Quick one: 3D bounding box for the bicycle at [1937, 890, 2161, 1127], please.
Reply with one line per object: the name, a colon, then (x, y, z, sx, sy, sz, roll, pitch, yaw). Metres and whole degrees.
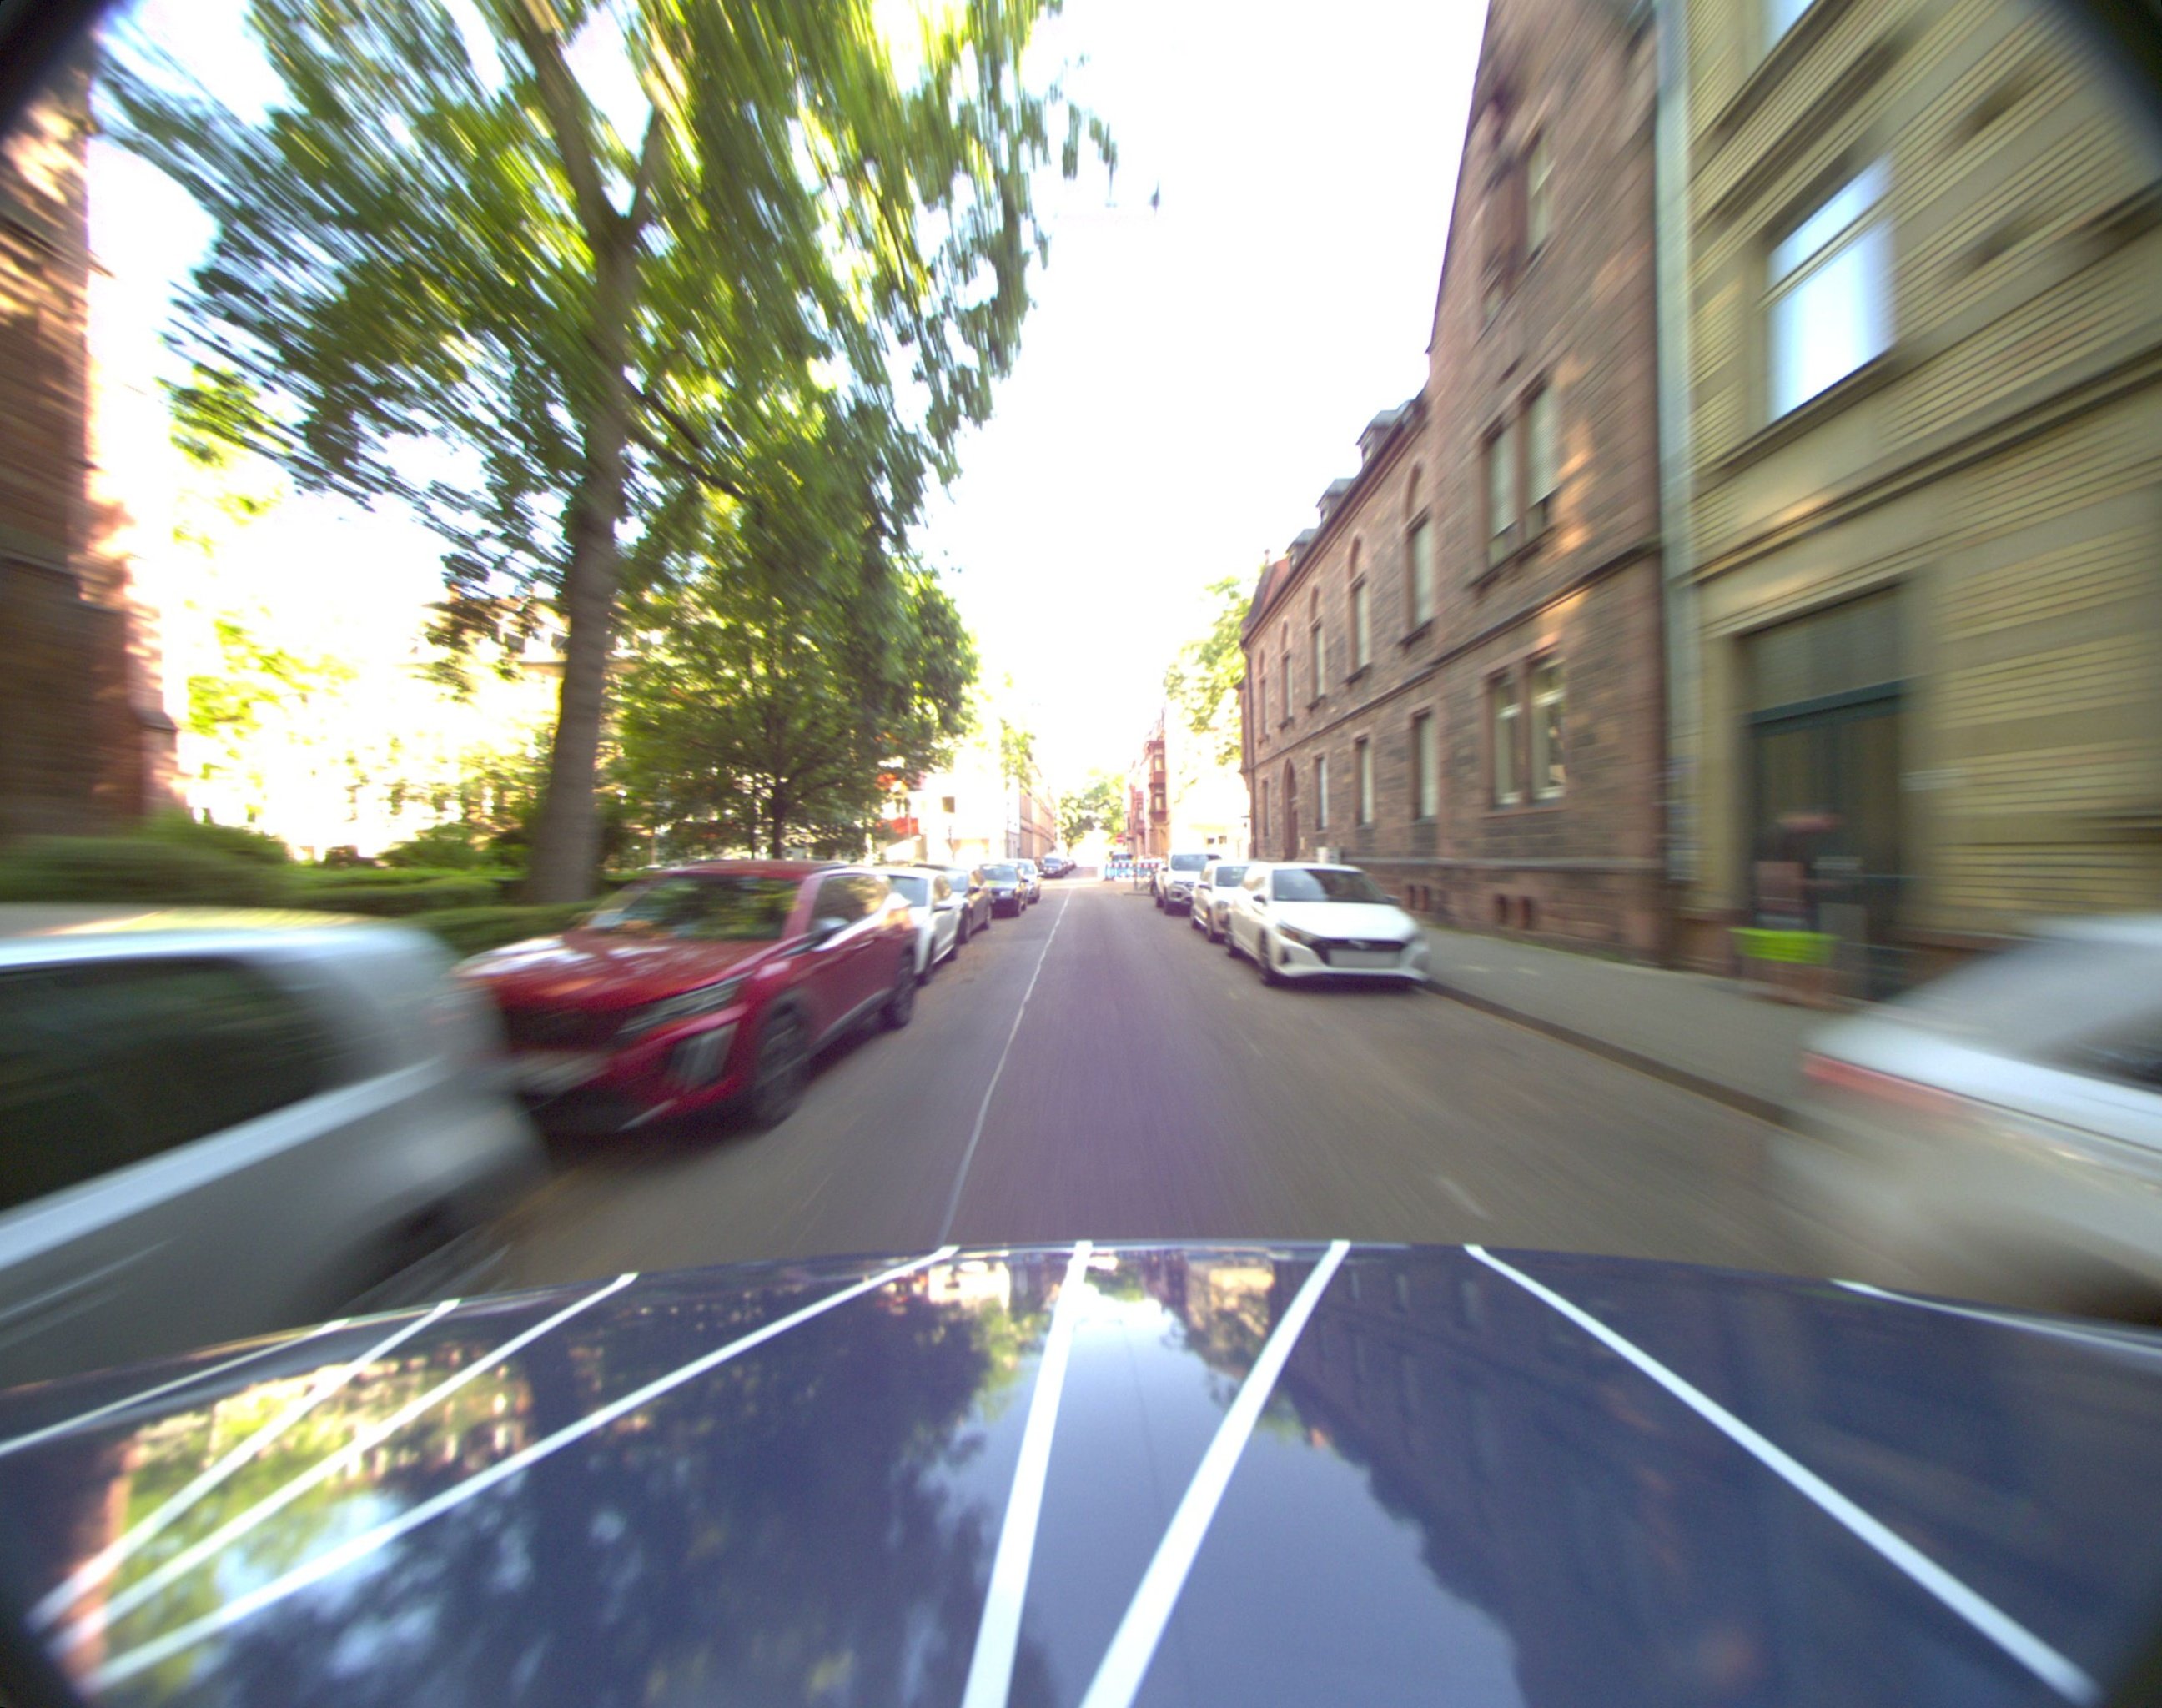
bicycle: (5.838, 0.825, 3.977, 0.572, 1.141, 1.844, -4, 0, 0)

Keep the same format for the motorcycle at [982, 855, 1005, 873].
motorcycle: (-5.656, 0.645, 49.152, 1.472, 1.111, 0.908, -2, 1, -6)

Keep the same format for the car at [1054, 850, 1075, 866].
car: (-1.750, 0.398, 82.759, 1.998, 1.659, 4.000, -1, 0, 2)

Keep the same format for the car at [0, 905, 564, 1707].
car: (-2.676, 1.001, 0.806, 1.603, 1.496, 3.720, 3, 1, 1)

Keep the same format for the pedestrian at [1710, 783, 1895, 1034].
pedestrian: (5.900, 0.419, 6.260, 0.768, 1.917, 0.763, -2, 1, -3)

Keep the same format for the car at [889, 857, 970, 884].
car: (-8.895, 0.952, 44.873, 4.412, 1.423, 1.782, -2, 1, 0)

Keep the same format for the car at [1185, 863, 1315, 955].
car: (3.064, 0.932, 14.489, 1.713, 1.409, 3.803, 1, 1, 2)

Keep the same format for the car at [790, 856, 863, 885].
car: (-15.064, 0.956, 45.068, 3.695, 1.550, 1.649, -2, 3, 0)

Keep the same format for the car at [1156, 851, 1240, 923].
car: (3.033, 0.798, 20.550, 1.713, 1.665, 4.277, 1, 1, 2)

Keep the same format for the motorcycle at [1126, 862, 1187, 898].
motorcycle: (2.750, 0.923, 27.887, 0.703, 1.244, 2.320, -2, 2, -44)

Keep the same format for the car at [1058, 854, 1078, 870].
car: (-1.500, 0.915, 87.680, 1.998, 1.659, 4.000, -1, 0, 2)

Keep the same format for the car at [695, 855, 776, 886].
car: (-20.537, 0.960, 45.265, 4.036, 1.608, 1.649, -2, 3, 0)

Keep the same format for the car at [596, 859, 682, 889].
car: (-26.197, 1.191, 45.107, 4.000, 1.571, 1.649, -2, 3, 0)

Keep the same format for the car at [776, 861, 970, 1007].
car: (-2.695, 0.949, 10.770, 1.668, 1.511, 3.950, 3, 1, -1)

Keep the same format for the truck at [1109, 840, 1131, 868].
truck: (3.804, -0.039, 75.025, 1.971, 2.643, 5.884, 0, 0, 1)

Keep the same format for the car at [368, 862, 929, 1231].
car: (-2.508, 0.942, 5.699, 1.668, 1.577, 4.100, 3, 1, 3)

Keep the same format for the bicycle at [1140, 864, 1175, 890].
bicycle: (3.107, 0.921, 30.883, 0.234, 1.037, 1.679, -5, 3, -39)

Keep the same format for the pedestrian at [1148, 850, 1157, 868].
pedestrian: (6.221, 0.428, 66.232, 0.670, 1.585, 0.597, -2, 1, -3)

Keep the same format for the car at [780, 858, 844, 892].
car: (-13.016, 0.972, 36.619, 1.785, 1.423, 4.404, -3, 2, -34)

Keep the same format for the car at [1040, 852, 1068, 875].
car: (-1.979, 0.698, 56.293, 1.845, 1.643, 4.000, 0, 0, 1)

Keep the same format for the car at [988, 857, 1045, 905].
car: (-2.218, 0.903, 26.988, 1.713, 1.511, 3.830, 0, 1, -1)

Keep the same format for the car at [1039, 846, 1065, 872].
car: (-2.374, 0.385, 61.973, 1.999, 2.052, 3.998, -2, 0, -4)

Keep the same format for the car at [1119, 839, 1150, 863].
car: (3.932, -0.192, 56.423, 1.776, 1.695, 3.999, -2, 0, -3)

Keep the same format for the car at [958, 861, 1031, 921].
car: (-2.342, 0.965, 21.454, 1.625, 1.428, 4.002, 0, 1, -1)

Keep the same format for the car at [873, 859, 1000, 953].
car: (-2.817, 0.950, 15.724, 1.668, 1.511, 4.060, 3, 1, 2)

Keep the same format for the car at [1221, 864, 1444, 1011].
car: (2.983, 0.903, 9.868, 1.713, 1.409, 3.803, 1, 1, 2)

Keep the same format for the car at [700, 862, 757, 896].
car: (-17.491, 1.180, 37.597, 1.785, 1.423, 4.404, -3, 2, -34)

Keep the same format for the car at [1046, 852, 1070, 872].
car: (-2.052, 0.660, 67.001, 1.999, 1.659, 3.998, -2, 0, -4)
